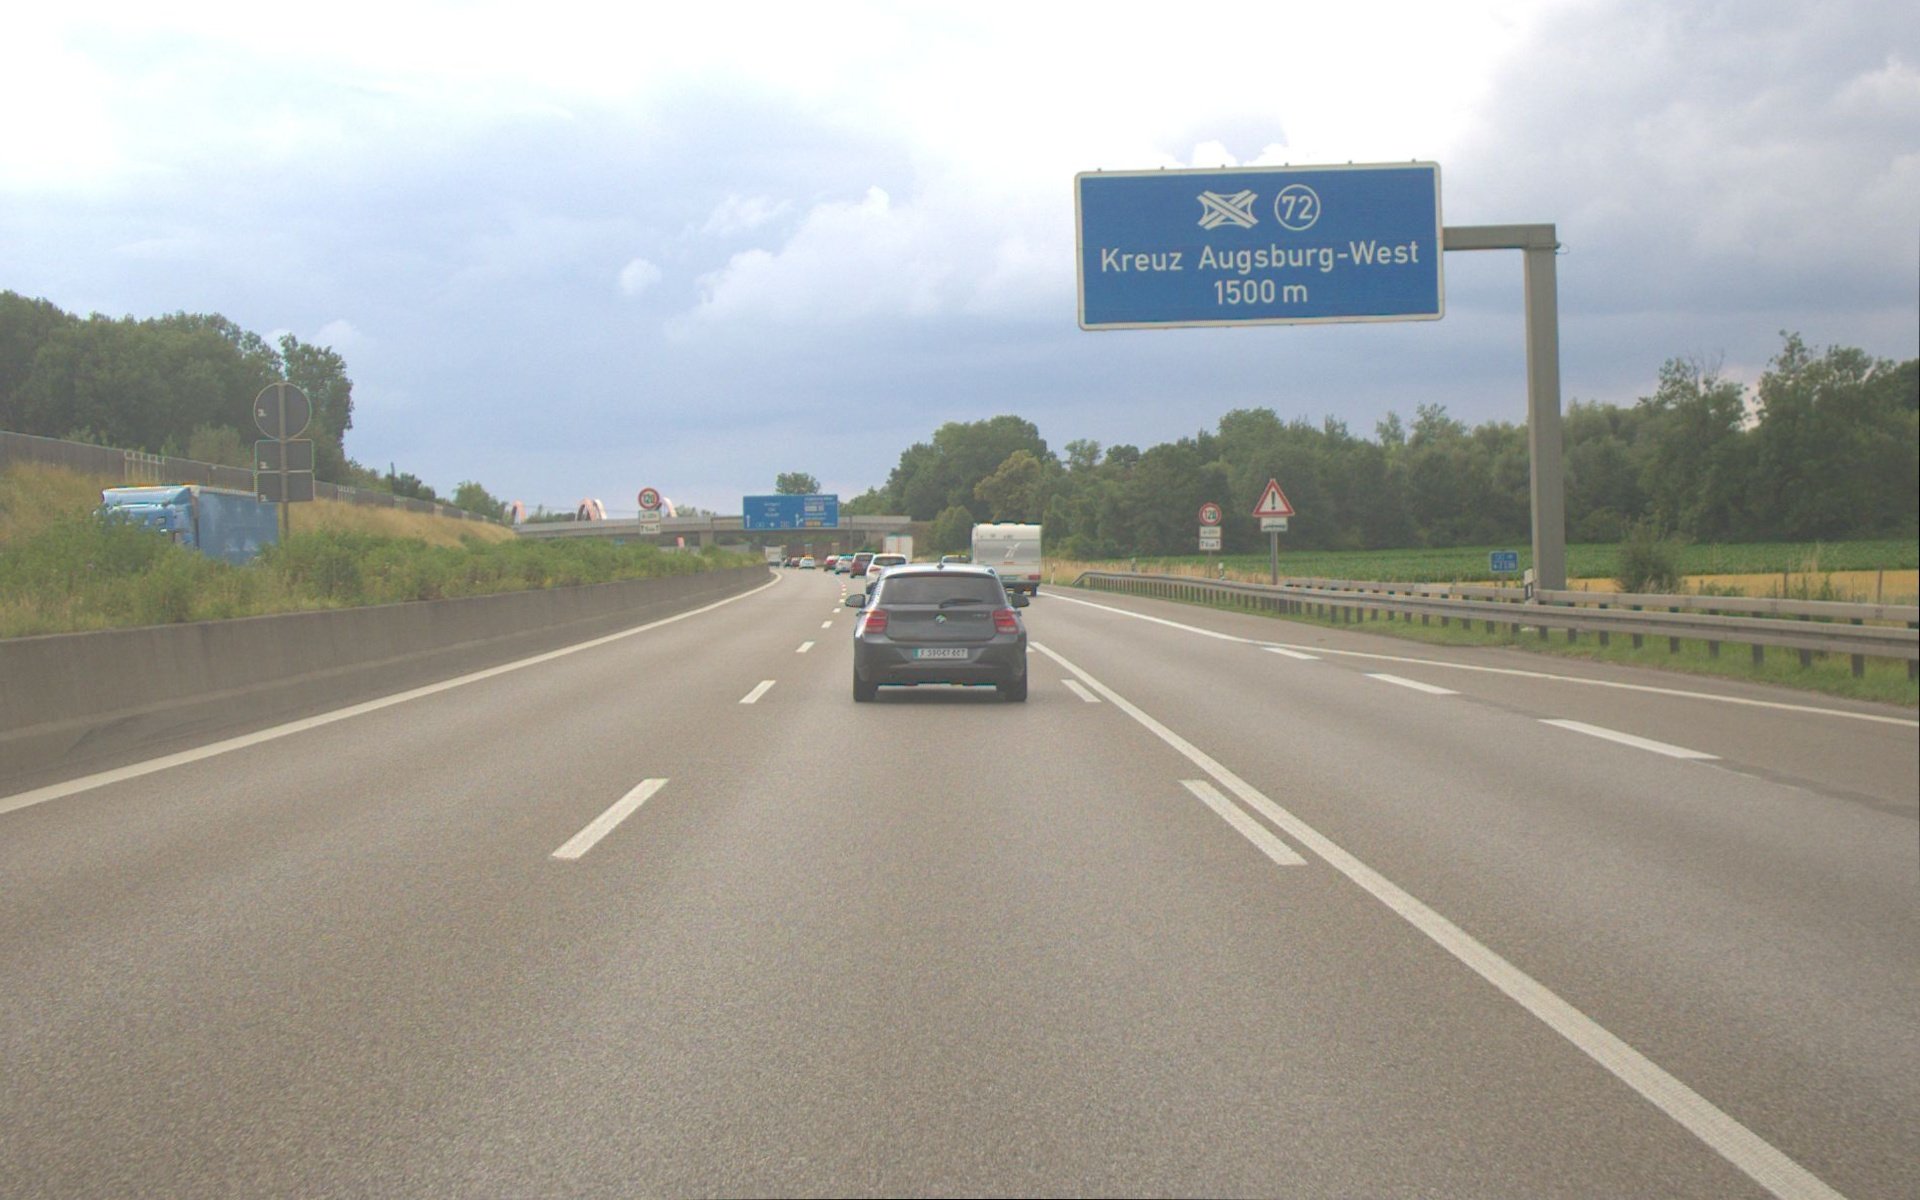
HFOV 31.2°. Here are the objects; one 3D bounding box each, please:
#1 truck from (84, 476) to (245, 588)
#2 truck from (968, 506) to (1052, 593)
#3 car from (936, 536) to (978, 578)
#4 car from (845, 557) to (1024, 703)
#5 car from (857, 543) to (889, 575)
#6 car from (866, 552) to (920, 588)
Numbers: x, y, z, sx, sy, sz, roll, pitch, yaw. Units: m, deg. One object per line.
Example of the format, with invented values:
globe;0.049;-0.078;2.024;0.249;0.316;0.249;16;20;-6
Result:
truck;-22.192;-1.896;96.259;2.984;2.978;6.744;1;1;-1
truck;1.753;-1.840;124.952;2.710;2.954;12.448;1;1;-1
car;-0.155;-2.142;171.364;1.993;2.007;4.000;-1;1;-1
car;-0.264;0.268;35.729;1.743;1.384;4.000;0;1;0
car;-5.682;-2.693;224.697;1.993;2.007;4.000;-1;1;-1
car;-2.516;-1.139;129.787;1.993;1.293;4.000;-1;1;-1
